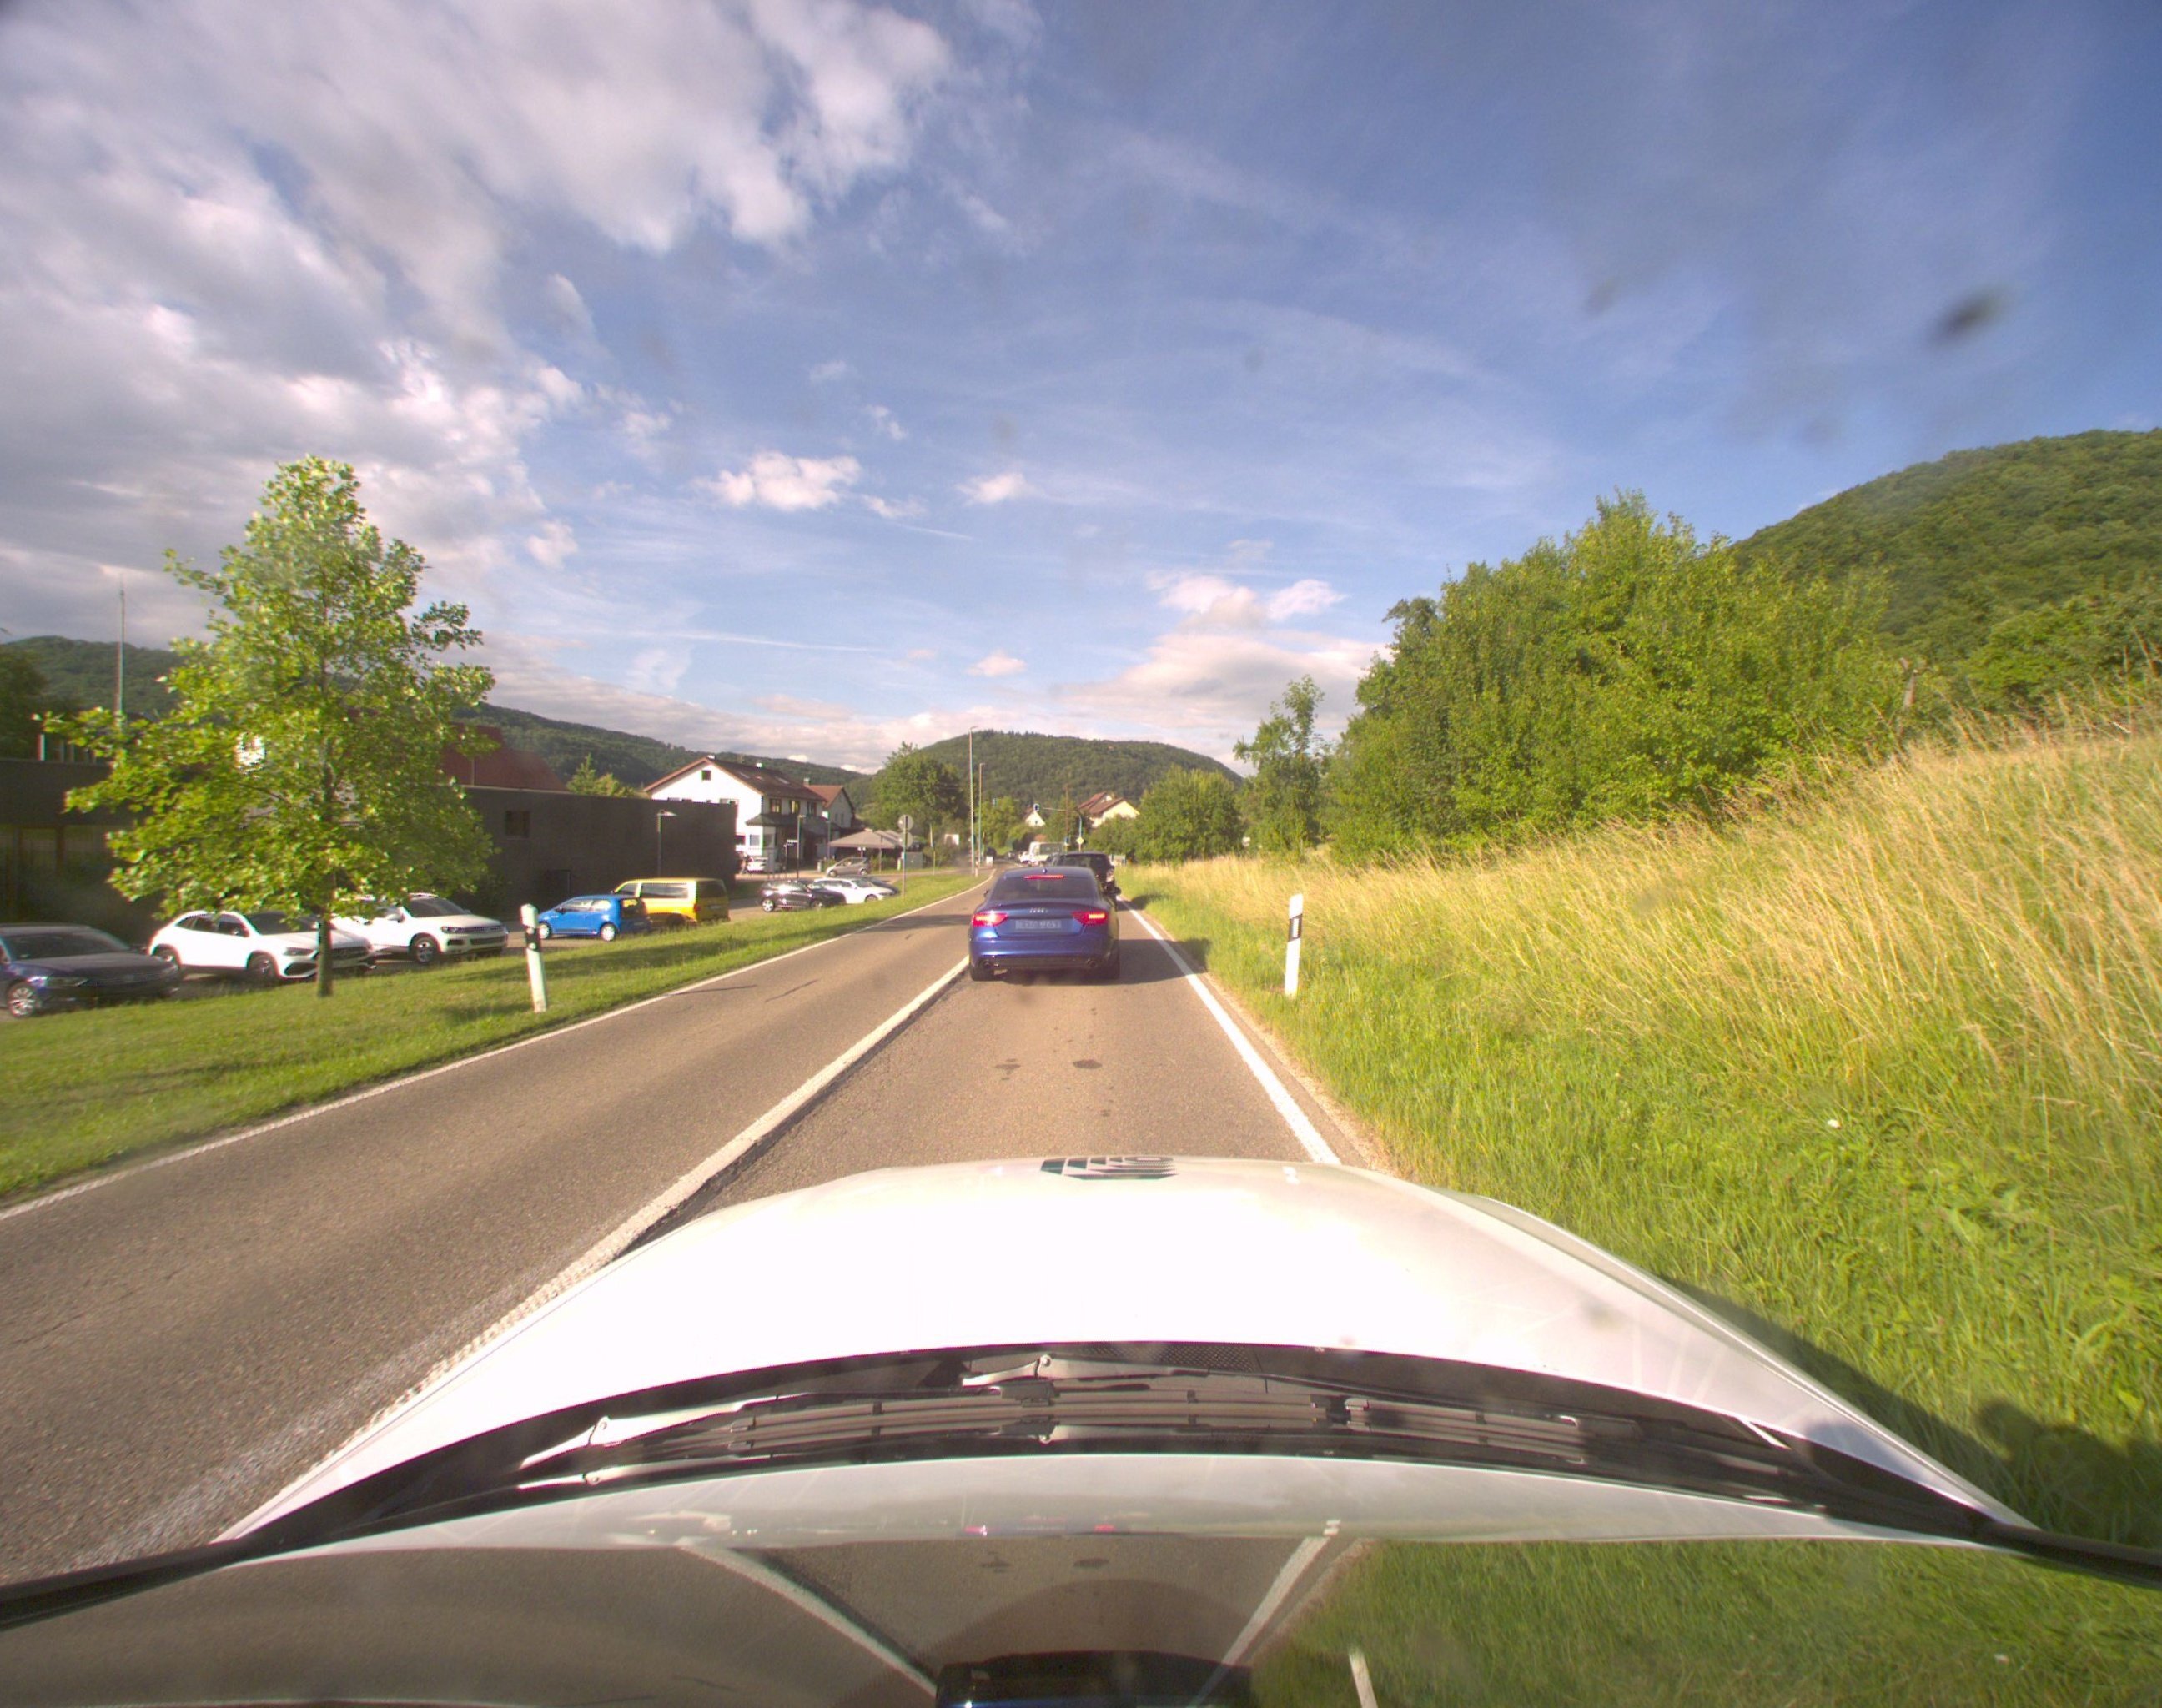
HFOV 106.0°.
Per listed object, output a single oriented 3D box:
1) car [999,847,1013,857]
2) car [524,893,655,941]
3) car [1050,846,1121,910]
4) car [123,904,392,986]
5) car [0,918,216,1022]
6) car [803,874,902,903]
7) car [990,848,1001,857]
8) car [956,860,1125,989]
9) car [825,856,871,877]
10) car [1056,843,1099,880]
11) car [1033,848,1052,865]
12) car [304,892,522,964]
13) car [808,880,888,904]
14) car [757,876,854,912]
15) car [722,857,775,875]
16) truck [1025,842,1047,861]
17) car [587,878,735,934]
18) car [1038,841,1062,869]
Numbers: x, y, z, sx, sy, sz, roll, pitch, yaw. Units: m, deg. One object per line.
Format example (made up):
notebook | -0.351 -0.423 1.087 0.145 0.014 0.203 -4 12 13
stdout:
car | -11.355 -0.233 123.590 1.699 1.490 3.511 0 -1 -13
car | -16.376 2.061 27.191 3.473 1.472 1.637 0 -1 9
car | 0.219 0.634 22.997 1.738 1.639 4.004 0 -1 4
car | -18.247 1.963 18.146 4.509 1.555 2.006 0 -1 11
car | -18.920 2.037 14.962 4.509 1.555 2.006 0 -1 11
car | -12.337 1.860 44.016 4.782 1.493 1.887 0 -1 11
car | -15.505 -0.218 147.489 1.626 1.576 3.666 0 -1 -10
car | -0.340 0.805 10.992 1.787 1.388 4.004 -1 -1 4
car | -18.708 1.024 65.565 3.465 1.662 1.731 0 -1 -15
car | -0.100 0.369 38.293 1.797 1.639 4.466 0 -1 3
car | -3.836 0.225 80.498 1.743 1.639 3.993 0 -1 -5
car | -17.640 1.912 21.594 4.509 1.703 2.006 0 -1 11
car | -13.221 2.142 46.363 3.965 1.310 1.764 0 -1 7
car | -13.355 1.913 39.585 3.999 1.637 2.006 0 -1 11
car | -28.120 1.002 69.038 1.748 1.442 4.022 -1 -1 24
truck | -4.771 -0.245 85.671 1.697 1.953 5.902 0 -1 -10
car | -15.290 1.848 29.707 4.577 1.868 2.008 0 -1 14
car | -2.569 0.095 66.768 1.743 2.195 3.993 0 -1 -5
